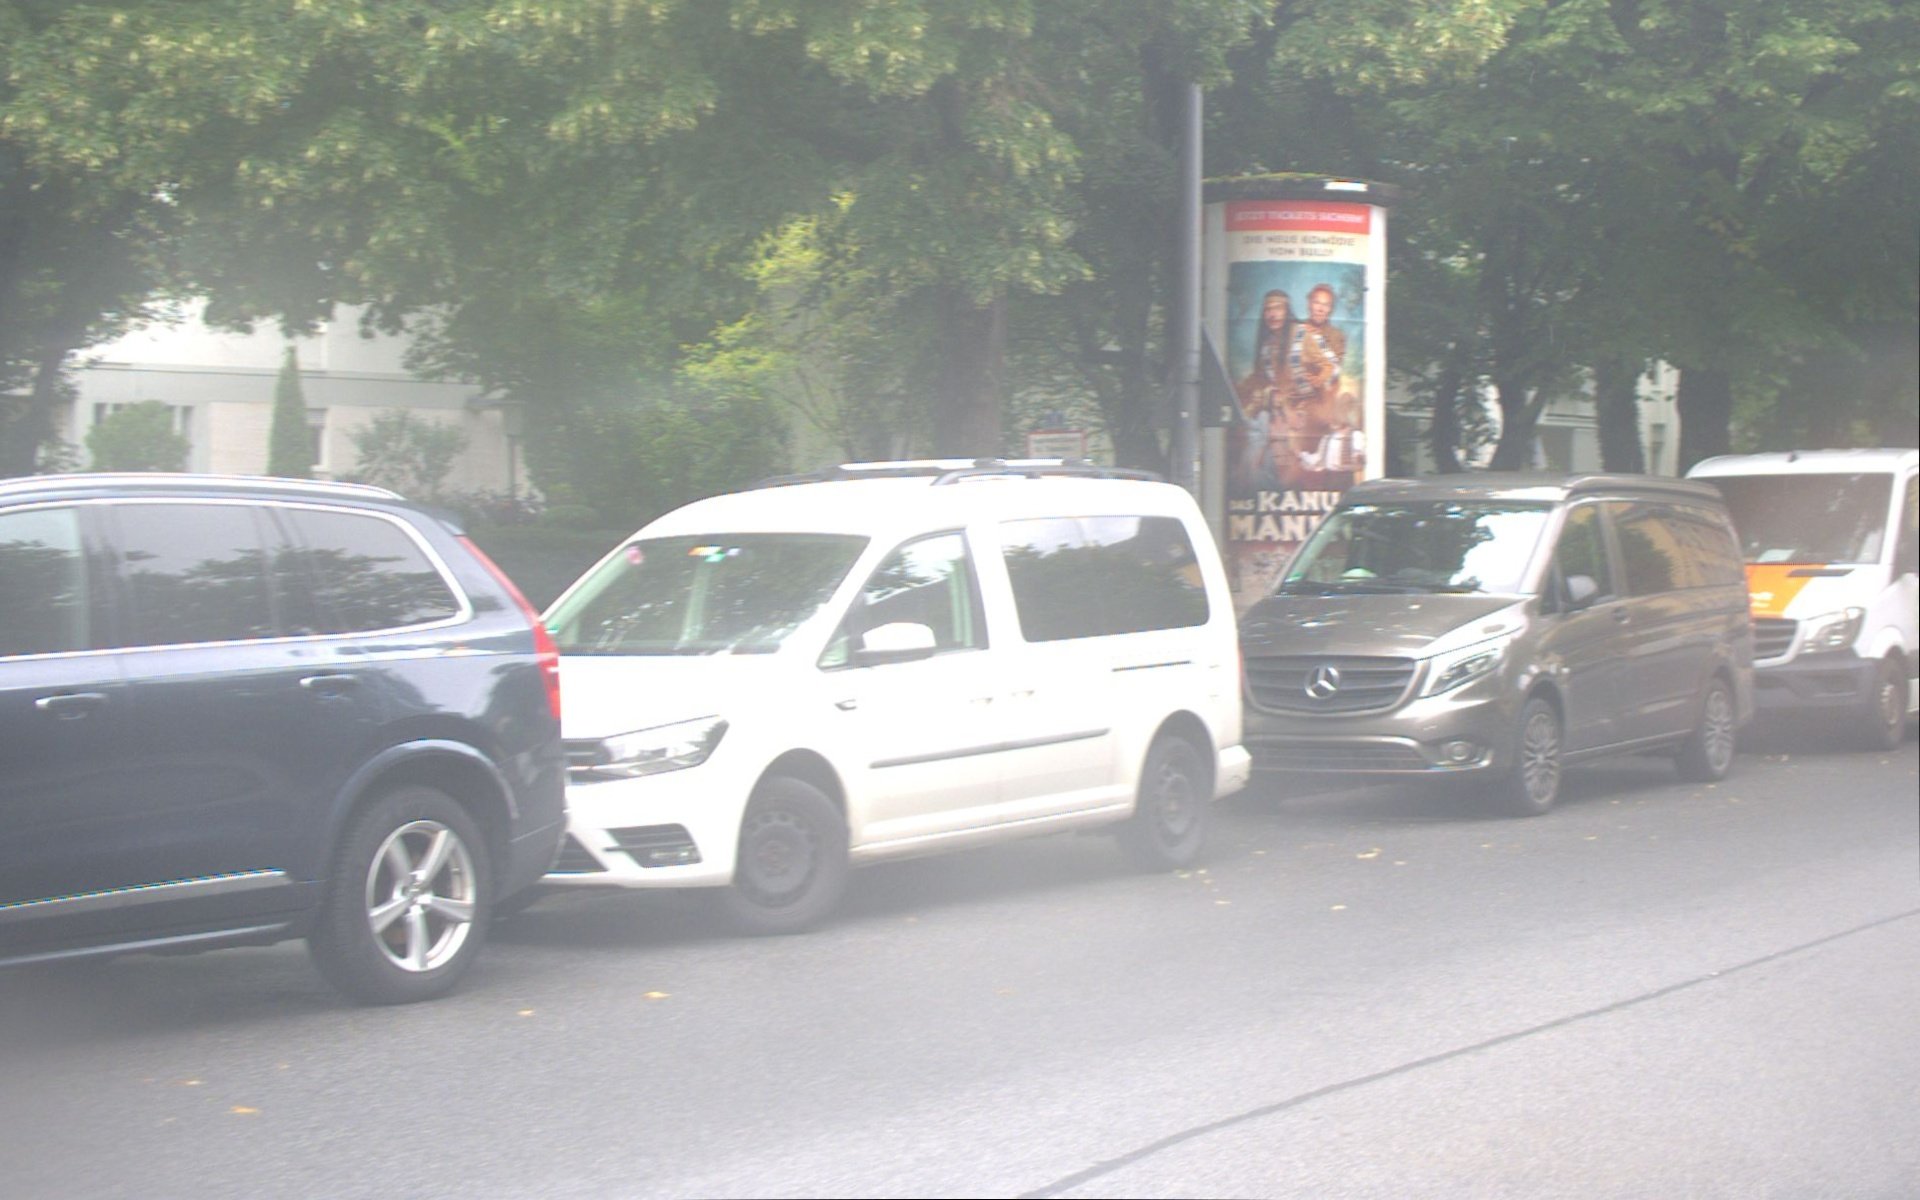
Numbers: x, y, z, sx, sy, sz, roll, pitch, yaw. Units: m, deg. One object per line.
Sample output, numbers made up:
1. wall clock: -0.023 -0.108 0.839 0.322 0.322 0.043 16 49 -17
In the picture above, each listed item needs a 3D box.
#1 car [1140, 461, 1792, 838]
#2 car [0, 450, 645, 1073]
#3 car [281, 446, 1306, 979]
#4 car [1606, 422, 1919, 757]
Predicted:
1. car: 3.214 0.197 20.649 1.948 1.957 5.450 0 1 31
2. car: -3.327 0.442 10.484 1.884 1.762 5.049 1 1 35
3. car: -0.509 0.355 14.978 1.883 1.930 4.823 0 1 35
4. car: 7.009 -0.093 26.843 2.118 2.340 5.399 1 1 31
